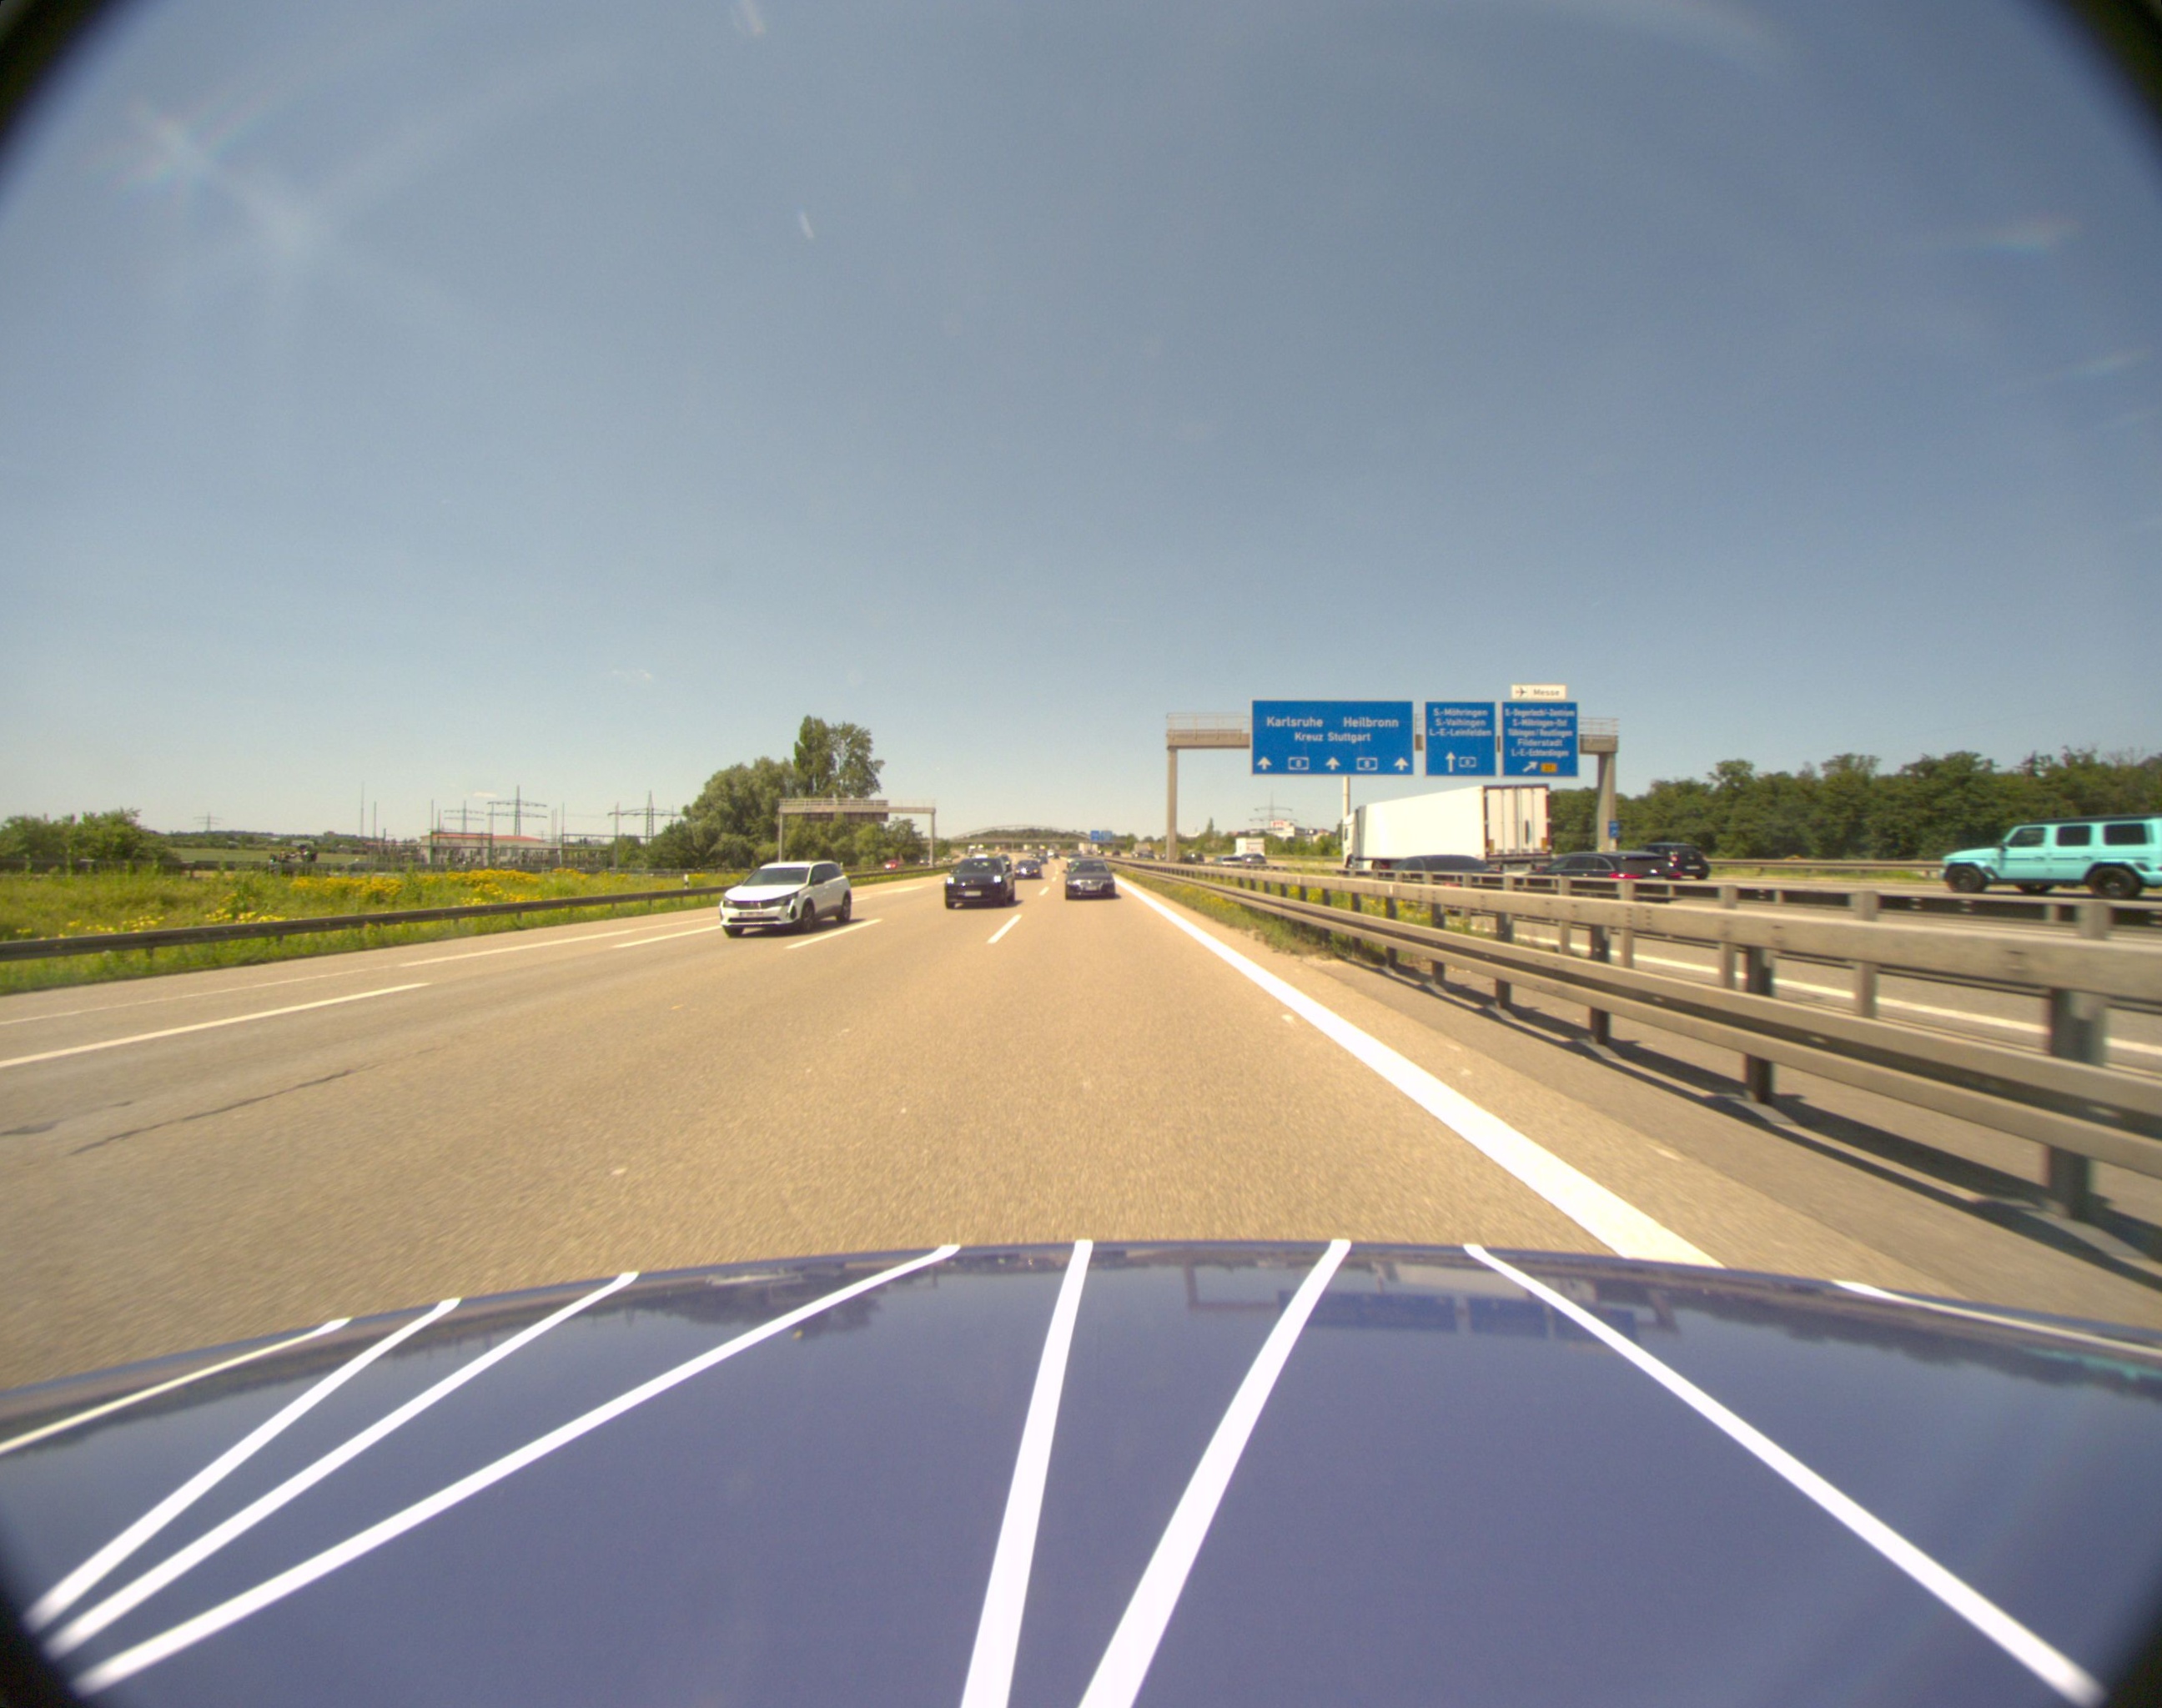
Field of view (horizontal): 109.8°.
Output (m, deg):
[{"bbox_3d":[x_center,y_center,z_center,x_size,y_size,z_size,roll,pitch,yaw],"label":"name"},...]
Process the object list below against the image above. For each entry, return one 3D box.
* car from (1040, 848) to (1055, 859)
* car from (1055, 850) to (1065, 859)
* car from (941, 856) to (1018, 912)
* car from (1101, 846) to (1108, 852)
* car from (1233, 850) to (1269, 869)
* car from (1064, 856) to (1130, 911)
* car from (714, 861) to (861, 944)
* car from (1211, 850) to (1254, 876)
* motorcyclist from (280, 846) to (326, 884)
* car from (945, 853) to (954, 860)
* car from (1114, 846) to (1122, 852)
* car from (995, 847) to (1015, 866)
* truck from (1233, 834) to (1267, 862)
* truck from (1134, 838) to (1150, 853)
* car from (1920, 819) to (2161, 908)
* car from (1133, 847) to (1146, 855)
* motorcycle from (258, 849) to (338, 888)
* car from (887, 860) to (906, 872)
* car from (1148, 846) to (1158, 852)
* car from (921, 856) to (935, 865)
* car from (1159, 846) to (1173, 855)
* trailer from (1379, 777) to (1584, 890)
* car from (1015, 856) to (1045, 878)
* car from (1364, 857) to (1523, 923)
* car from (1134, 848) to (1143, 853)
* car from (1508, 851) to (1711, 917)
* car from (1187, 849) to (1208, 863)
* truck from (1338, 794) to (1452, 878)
[{"bbox_3d":[-5.379,-0.091,122.383,1.924,1.762,4.000,-1,1,4],"label":"car"},{"bbox_3d":[-4.759,0.049,172.601,2.000,1.849,3.997,-2,1,-7],"label":"car"},{"bbox_3d":[-3.264,0.910,25.190,1.931,1.586,4.131,-1,1,1],"label":"car"},{"bbox_3d":[6.467,-1.433,211.738,1.679,1.616,4.084,-1,1,0],"label":"car"},{"bbox_3d":[13.786,0.414,61.973,1.747,1.500,5.101,-1,0,-1],"label":"car"},{"bbox_3d":[0.449,0.893,25.119,1.932,1.499,4.389,-1,1,-2],"label":"car"},{"bbox_3d":[-6.917,1.058,18.490,1.748,1.582,4.618,-1,1,0],"label":"car"},{"bbox_3d":[9.765,0.546,49.290,1.736,1.579,5.355,-1,0,1],"label":"car"},{"bbox_3d":[-28.355,0.388,27.710,0.669,1.359,0.879,-1,1,9],"label":"motorcyclist"},{"bbox_3d":[-31.795,0.606,183.862,1.704,1.566,4.125,-2,1,-4],"label":"car"},{"bbox_3d":[9.919,-1.409,205.900,1.852,1.646,4.909,-2,1,0],"label":"car"},{"bbox_3d":[-8.325,0.254,83.705,1.809,1.908,4.293,-2,1,-2],"label":"car"},{"bbox_3d":[20.485,-0.721,92.579,2.326,3.149,8.111,-1,0,0],"label":"truck"},{"bbox_3d":[13.144,-1.858,163.435,2.382,3.258,7.657,-2,1,-2],"label":"truck"},{"bbox_3d":[24.201,0.178,18.435,2.021,1.903,5.161,-1,0,1],"label":"car"},{"bbox_3d":[10.545,-0.516,137.523,1.794,1.455,4.858,-1,0,-1],"label":"car"},{"bbox_3d":[-28.393,0.503,27.590,0.761,1.359,1.870,-1,1,10],"label":"motorcycle"},{"bbox_3d":[-26.869,1.788,110.808,1.704,1.566,4.127,-1,1,1],"label":"car"},{"bbox_3d":[18.649,-1.307,197.213,1.852,1.523,4.221,-2,1,-4],"label":"car"},{"bbox_3d":[-28.678,1.261,142.332,1.704,1.566,4.127,-1,1,1],"label":"car"},{"bbox_3d":[14.845,-0.591,132.313,1.910,1.412,3.999,-1,0,-1],"label":"car"},{"bbox_3d":[17.243,-0.845,34.178,3.231,4.168,11.407,-1,1,0],"label":"trailer"},{"bbox_3d":[-3.570,0.905,53.898,1.932,1.390,4.116,-1,1,-1],"label":"car"},{"bbox_3d":[9.291,0.843,20.017,1.846,1.451,4.996,-1,0,1],"label":"car"},{"bbox_3d":[16.955,-1.081,223.356,2.111,1.523,4.370,-2,1,-2],"label":"car"},{"bbox_3d":[13.466,0.683,19.826,1.846,1.451,4.996,-1,0,1],"label":"car"},{"bbox_3d":[13.195,0.195,86.348,1.747,1.552,3.999,-1,0,-1],"label":"car"},{"bbox_3d":[17.289,-0.913,42.540,3.256,4.185,7.693,-1,0,1],"label":"truck"}]
